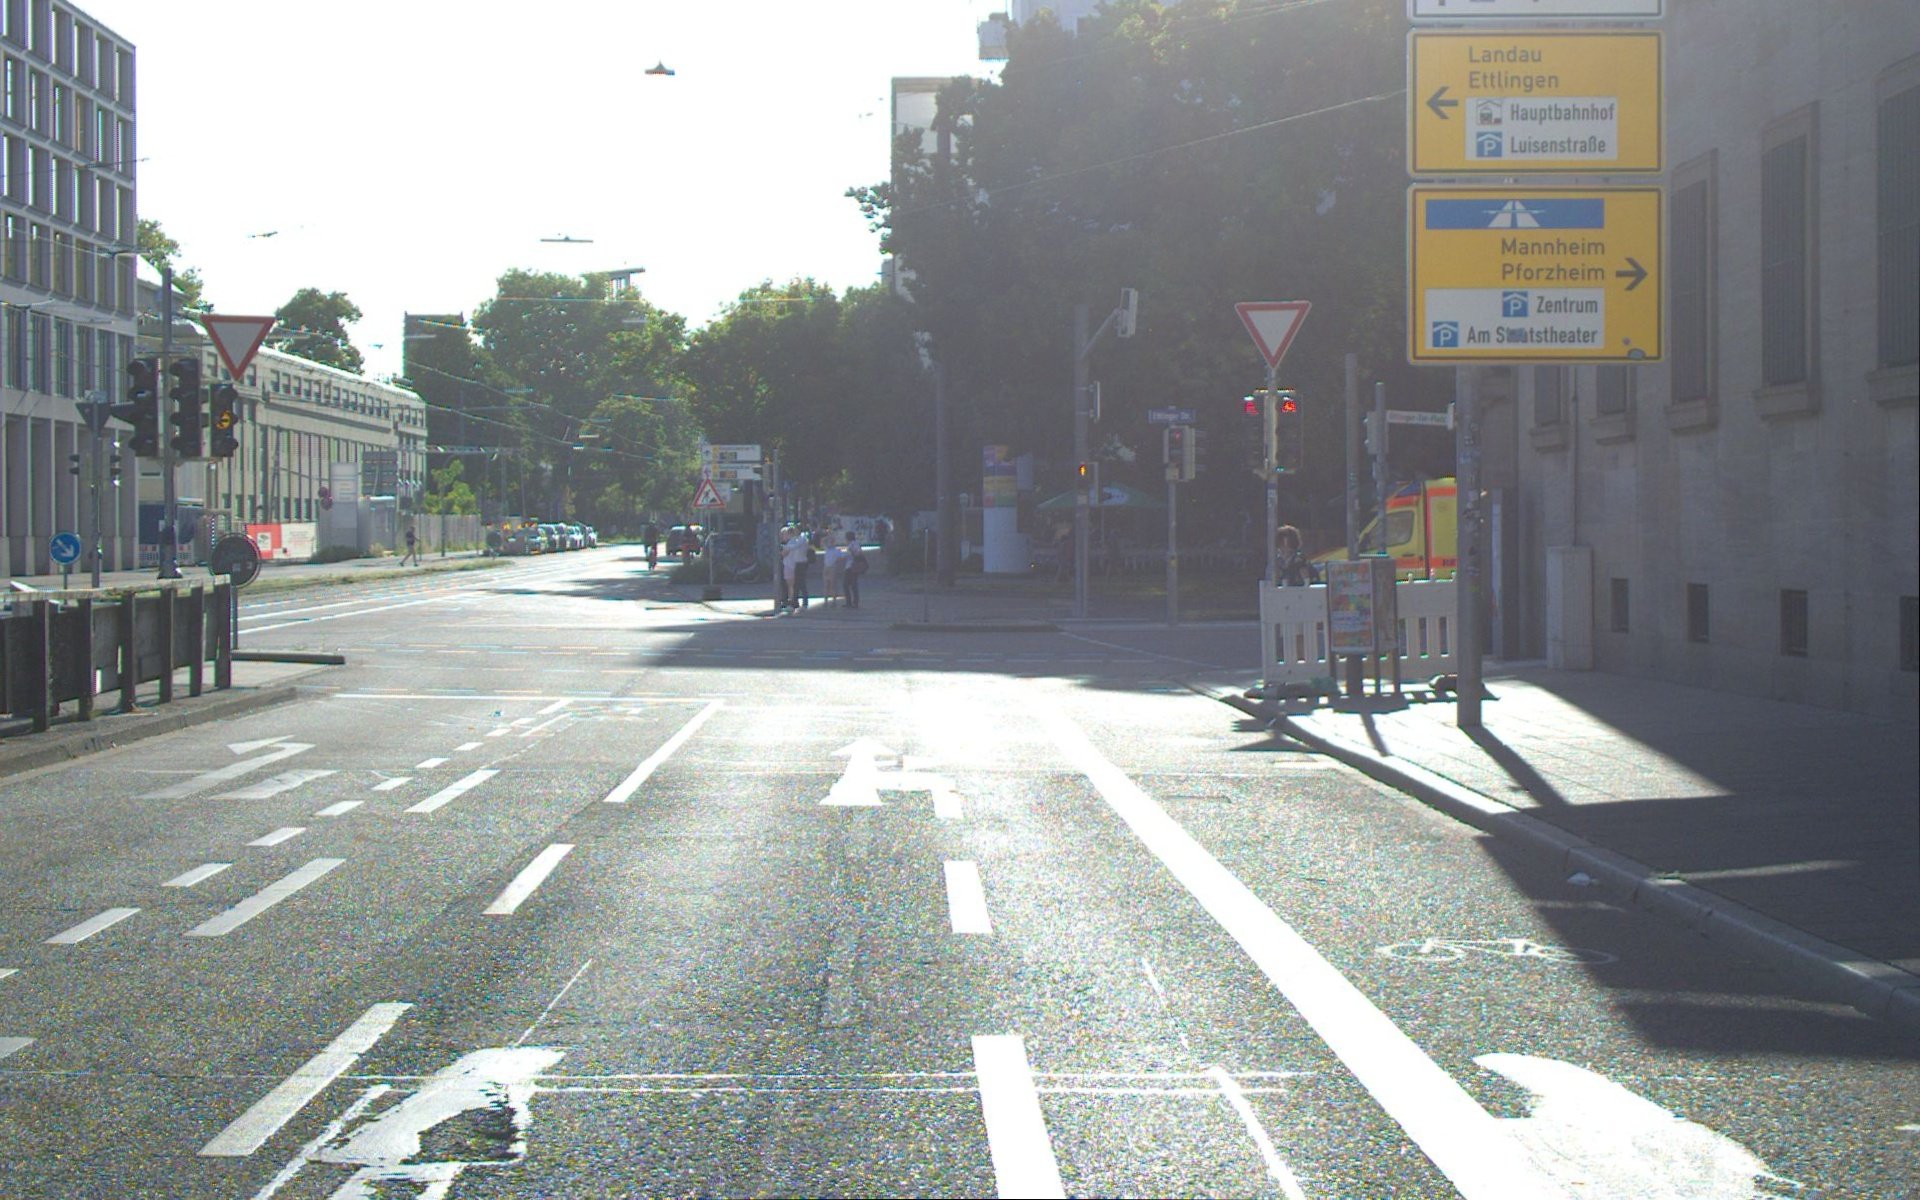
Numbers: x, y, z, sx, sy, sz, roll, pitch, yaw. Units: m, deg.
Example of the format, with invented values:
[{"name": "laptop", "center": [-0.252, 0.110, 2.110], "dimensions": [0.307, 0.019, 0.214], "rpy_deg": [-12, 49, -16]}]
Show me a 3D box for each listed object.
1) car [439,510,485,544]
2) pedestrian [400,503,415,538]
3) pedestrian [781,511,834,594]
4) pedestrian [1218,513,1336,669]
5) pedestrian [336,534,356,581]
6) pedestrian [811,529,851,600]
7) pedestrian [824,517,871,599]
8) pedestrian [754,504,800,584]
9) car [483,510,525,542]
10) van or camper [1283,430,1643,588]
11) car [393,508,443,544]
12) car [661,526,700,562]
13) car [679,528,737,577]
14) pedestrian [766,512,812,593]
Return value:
[{"name": "car", "center": [-25.114, -3.694, 173.304], "dimensions": [1.819, 1.706, 3.806], "rpy_deg": [0, 1, -1]}, {"name": "pedestrian", "center": [-23.459, -3.384, 145.952], "dimensions": [0.524, 1.479, 0.438], "rpy_deg": [2, 0, -2]}, {"name": "pedestrian", "center": [-3.283, -1.021, 74.144], "dimensions": [0.965, 1.778, 0.780], "rpy_deg": [-1, 1, -17]}, {"name": "pedestrian", "center": [3.527, -0.113, 38.338], "dimensions": [1.039, 1.715, 1.035], "rpy_deg": [-1, 1, -12]}, {"name": "pedestrian", "center": [-17.648, -1.225, 98.812], "dimensions": [0.511, 1.324, 0.369], "rpy_deg": [0, 1, 1]}, {"name": "pedestrian", "center": [-2.852, -0.782, 76.092], "dimensions": [0.762, 1.553, 0.588], "rpy_deg": [-1, 1, -17]}, {"name": "pedestrian", "center": [-2.469, -0.930, 75.367], "dimensions": [0.847, 1.778, 0.780], "rpy_deg": [-1, 1, -17]}, {"name": "pedestrian", "center": [-4.071, -1.248, 76.551], "dimensions": [0.847, 1.778, 0.780], "rpy_deg": [-1, 1, -17]}, {"name": "car", "center": [-24.540, -3.973, 185.014], "dimensions": [1.819, 1.706, 3.806], "rpy_deg": [0, 1, -1]}, {"name": "van or camper", "center": [9.802, -1.767, 67.589], "dimensions": [6.709, 2.852, 2.910], "rpy_deg": [2, 0, 4]}, {"name": "car", "center": [-25.565, -3.495, 162.362], "dimensions": [1.819, 1.706, 3.806], "rpy_deg": [0, 1, -1]}, {"name": "car", "center": [-14.111, -2.815, 173.843], "dimensions": [1.684, 1.731, 3.509], "rpy_deg": [2, 0, -1]}, {"name": "car", "center": [-8.190, -1.538, 111.928], "dimensions": [1.684, 1.495, 3.509], "rpy_deg": [2, 0, -1]}, {"name": "pedestrian", "center": [-3.765, -1.051, 75.768], "dimensions": [0.847, 1.778, 0.780], "rpy_deg": [-1, 1, -17]}]
